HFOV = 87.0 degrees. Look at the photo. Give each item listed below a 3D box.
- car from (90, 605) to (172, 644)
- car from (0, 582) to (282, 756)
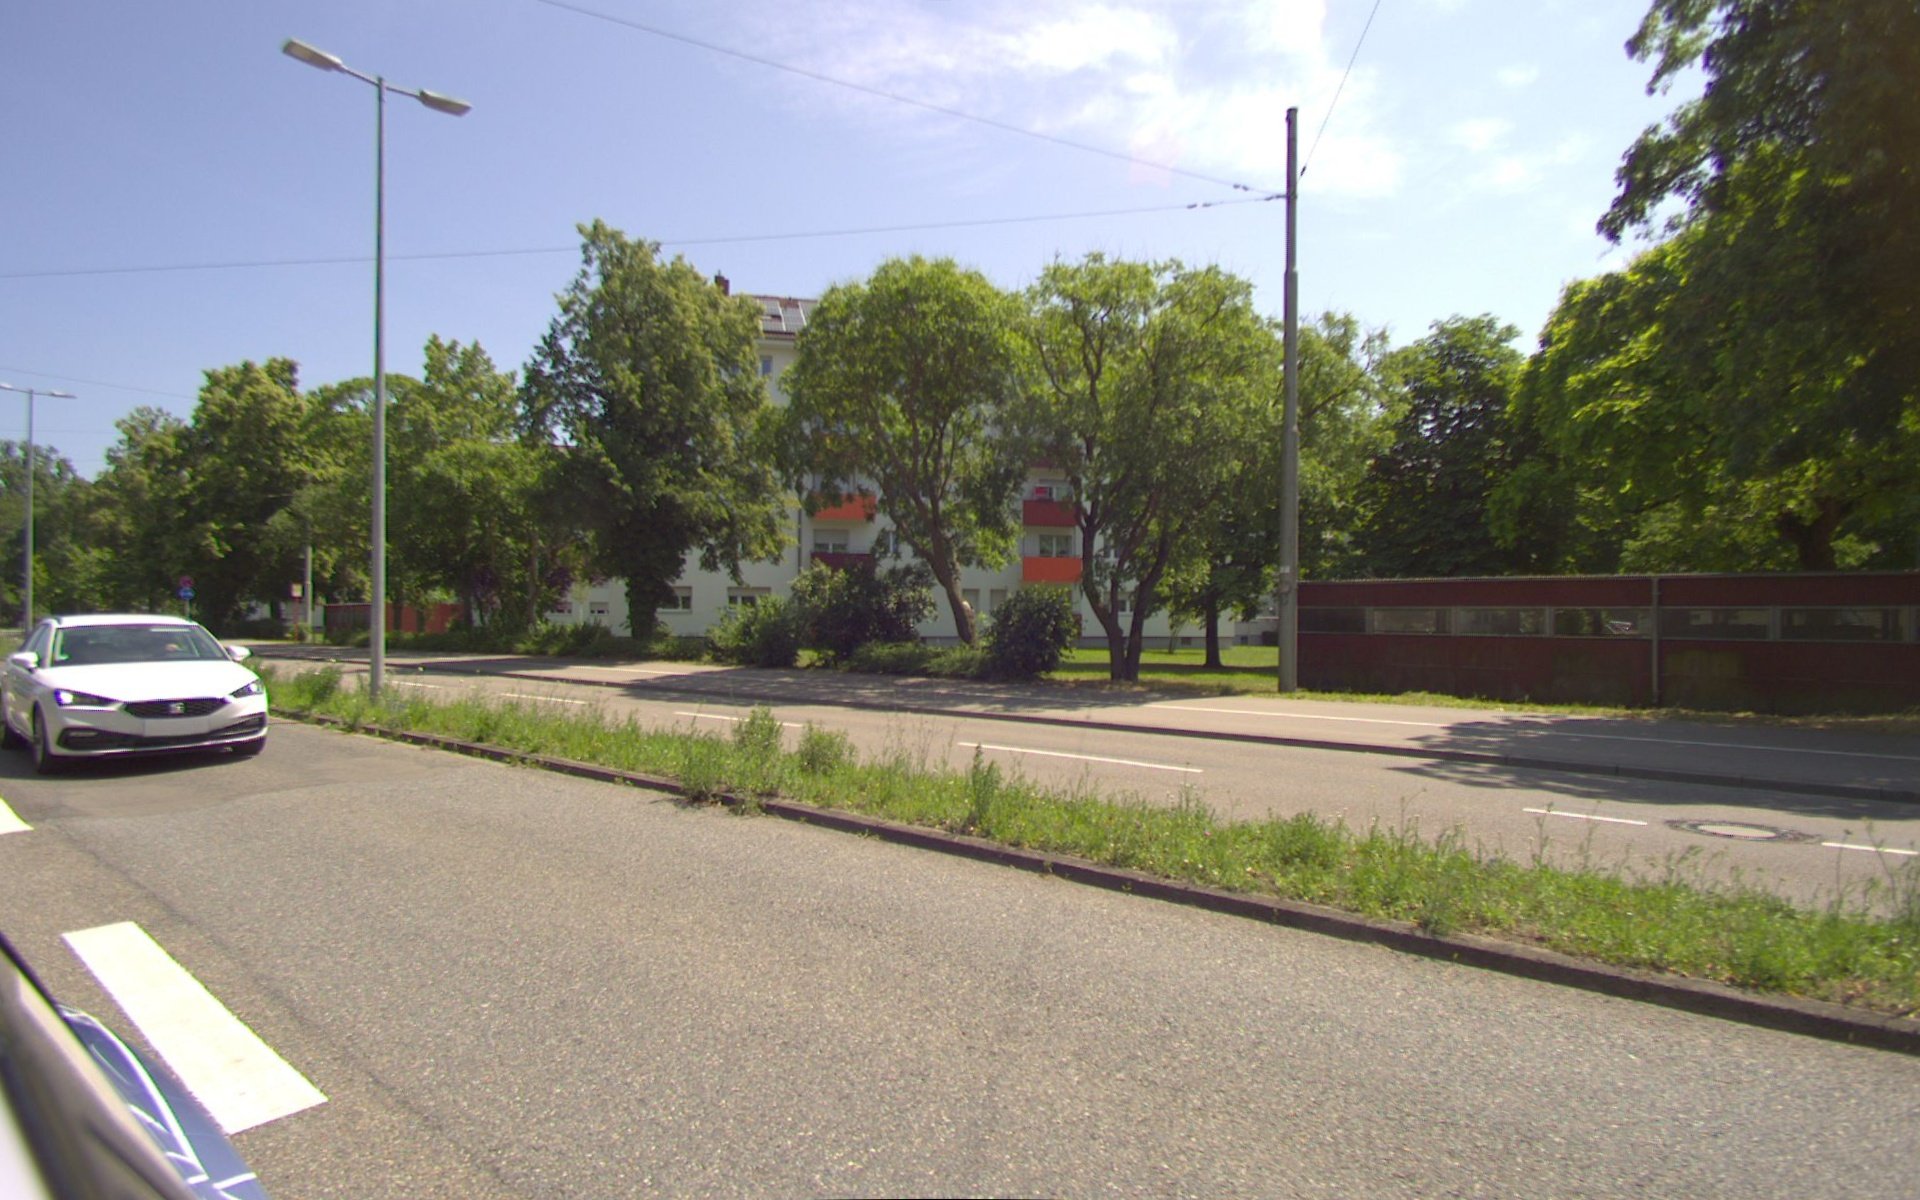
[{"bbox_3d":[-37.093,1.080,45.237,4.752,1.638,1.904,0,-2,39],"label":"car"},{"bbox_3d":[-8.785,0.589,10.602,4.109,1.479,1.750,-1,0,41],"label":"car"}]
